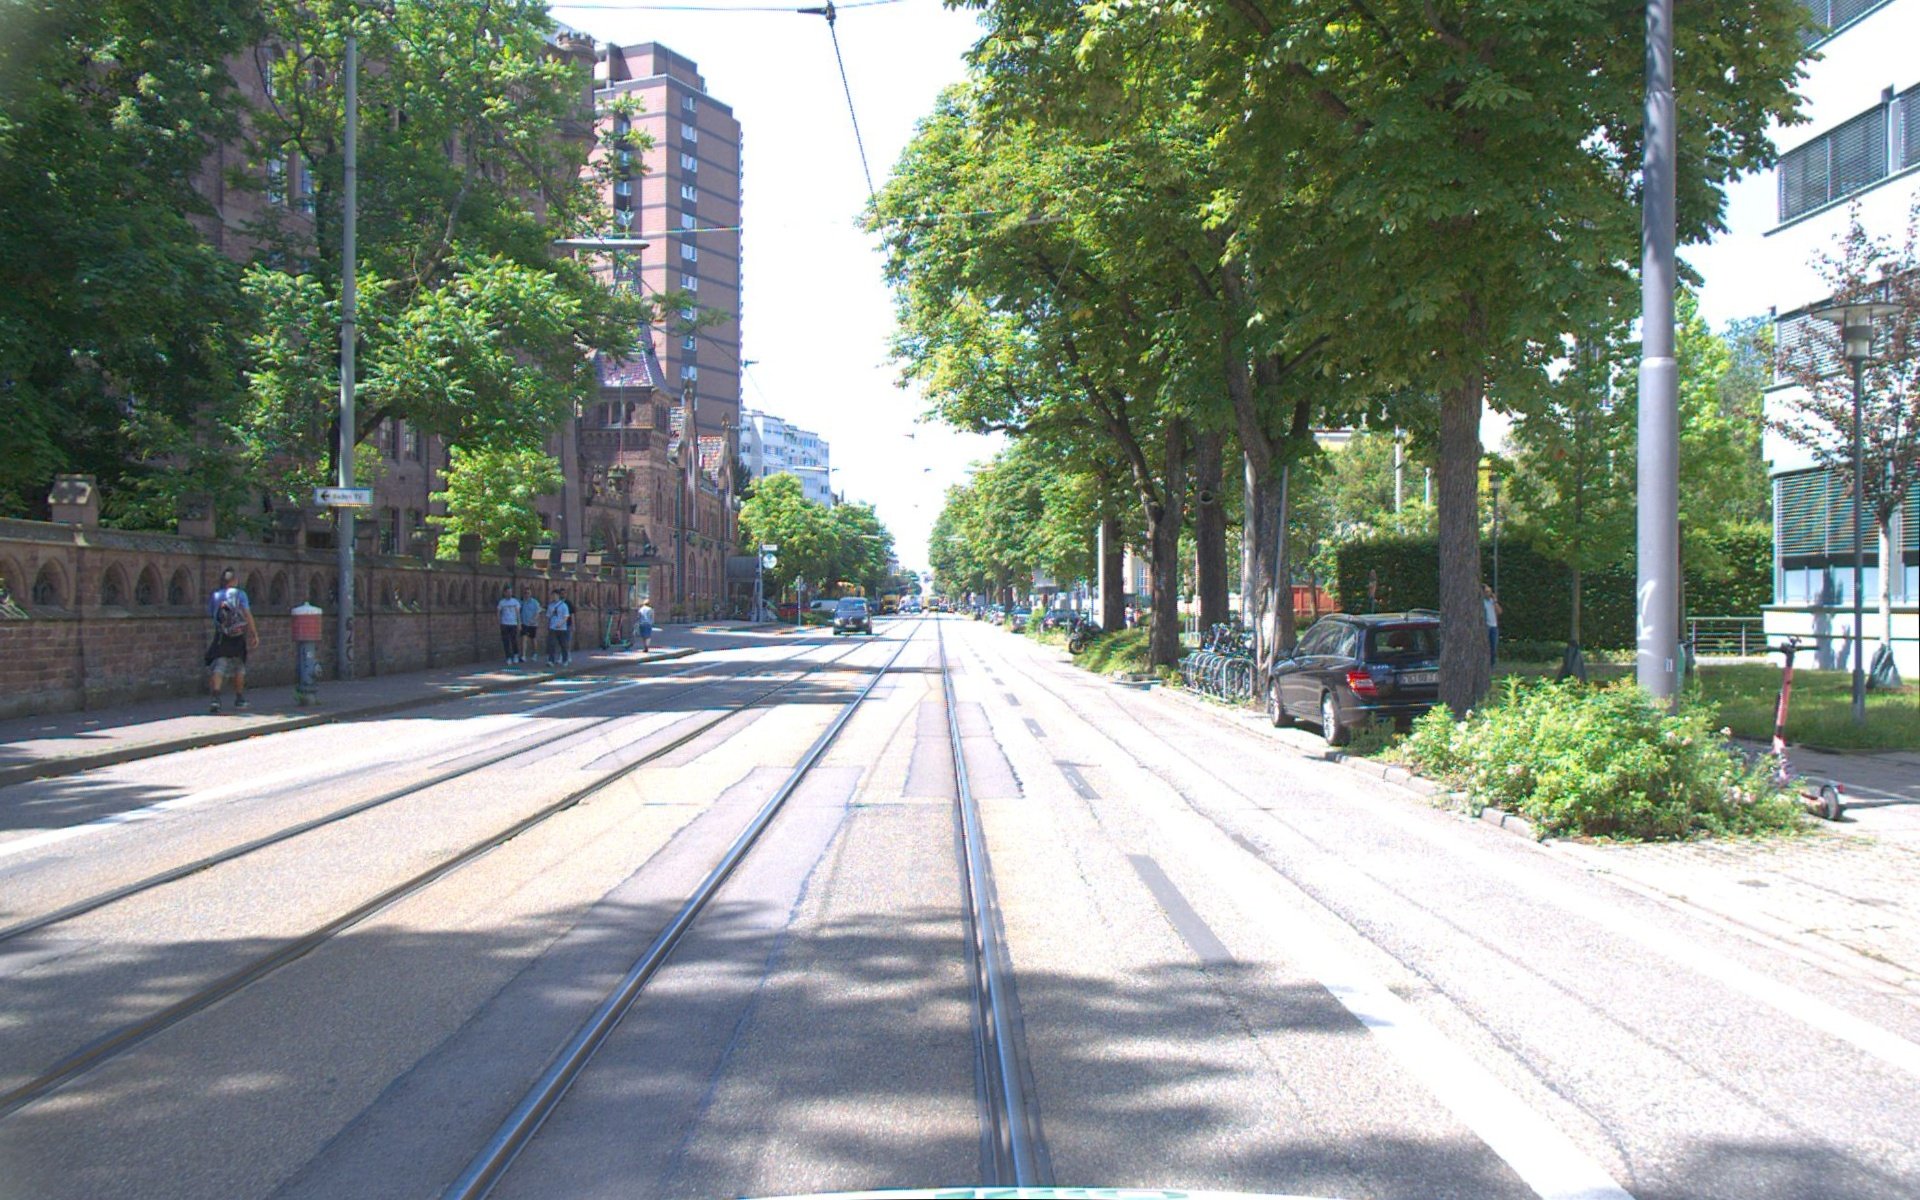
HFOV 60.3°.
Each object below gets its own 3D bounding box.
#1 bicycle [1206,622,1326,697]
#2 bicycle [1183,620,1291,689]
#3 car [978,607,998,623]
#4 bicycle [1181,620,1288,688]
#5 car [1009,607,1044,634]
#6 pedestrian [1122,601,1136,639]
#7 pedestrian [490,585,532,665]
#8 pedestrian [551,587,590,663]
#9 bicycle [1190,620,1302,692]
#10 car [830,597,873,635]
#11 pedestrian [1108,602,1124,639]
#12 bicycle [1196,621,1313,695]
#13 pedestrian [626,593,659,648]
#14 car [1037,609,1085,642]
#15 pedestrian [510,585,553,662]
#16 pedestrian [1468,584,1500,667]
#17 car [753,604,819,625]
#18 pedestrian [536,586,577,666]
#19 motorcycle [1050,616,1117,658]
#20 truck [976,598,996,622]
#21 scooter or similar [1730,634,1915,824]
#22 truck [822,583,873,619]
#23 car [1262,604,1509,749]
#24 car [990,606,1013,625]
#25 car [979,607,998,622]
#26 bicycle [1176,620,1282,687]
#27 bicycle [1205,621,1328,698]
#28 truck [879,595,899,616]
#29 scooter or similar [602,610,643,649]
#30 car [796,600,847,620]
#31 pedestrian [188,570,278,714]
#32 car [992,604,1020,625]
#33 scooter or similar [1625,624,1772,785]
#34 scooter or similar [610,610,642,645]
[{"bbox_3d":[4.851,0.930,26.213,1.775,1.130,0.534,-1,0,-10],"label":"bicycle"},{"bbox_3d":[4.742,0.925,28.361,1.772,1.130,0.395,-1,-1,-4],"label":"bicycle"},{"bbox_3d":[2.614,1.395,154.102,1.787,1.497,4.486,0,0,1],"label":"car"},{"bbox_3d":[4.764,0.932,28.761,1.772,1.130,0.395,-1,-1,-4],"label":"bicycle"},{"bbox_3d":[3.625,1.114,90.931,1.637,1.433,4.747,0,0,-2],"label":"car"},{"bbox_3d":[7.277,0.848,71.189,0.502,1.601,0.544,-2,0,-1],"label":"pedestrian"},{"bbox_3d":[-10.368,0.568,38.215,0.663,1.807,0.919,2,0,-1],"label":"pedestrian"},{"bbox_3d":[-9.470,0.601,40.211,0.663,1.779,0.919,2,0,-1],"label":"pedestrian"},{"bbox_3d":[4.758,0.927,27.488,1.777,1.130,0.488,-1,0,-15],"label":"bicycle"},{"bbox_3d":[-5.320,0.763,81.519,1.866,1.819,4.254,-1,0,-1],"label":"car"},{"bbox_3d":[6.707,0.878,71.205,0.606,1.601,0.610,-2,0,-1],"label":"pedestrian"},{"bbox_3d":[4.771,0.935,26.831,1.775,1.130,0.532,-1,0,-10],"label":"bicycle"},{"bbox_3d":[-9.733,0.623,50.755,0.783,1.616,0.919,2,0,-1],"label":"pedestrian"},{"bbox_3d":[4.190,1.025,68.810,1.715,1.293,3.833,1,0,-1],"label":"car"},{"bbox_3d":[-10.390,0.570,40.123,0.737,1.807,0.919,2,0,-1],"label":"pedestrian"},{"bbox_3d":[11.375,0.551,35.900,0.613,1.779,0.657,-2,-1,18],"label":"pedestrian"},{"bbox_3d":[-13.280,1.132,126.303,4.713,1.594,1.982,0,-1,-29],"label":"car"},{"bbox_3d":[-9.388,0.601,38.525,0.663,1.821,0.919,2,0,-1],"label":"pedestrian"},{"bbox_3d":[3.702,1.115,49.632,2.022,1.234,0.610,-1,-2,39],"label":"motorcycle"},{"bbox_3d":[2.743,1.060,175.550,1.973,2.532,5.954,0,0,-1],"label":"truck"},{"bbox_3d":[6.115,0.881,11.799,0.528,1.229,1.385,-2,0,-1],"label":"scooter or similar"},{"bbox_3d":[-12.729,0.146,188.344,2.657,3.909,10.972,1,-1,13],"label":"truck"},{"bbox_3d":[4.931,0.819,19.844,1.642,1.493,4.633,-1,0,-2],"label":"car"},{"bbox_3d":[3.327,1.244,134.080,1.637,1.544,4.200,0,0,-2],"label":"car"},{"bbox_3d":[2.862,1.455,165.007,1.786,1.497,4.401,-1,0,2],"label":"car"},{"bbox_3d":[4.745,0.933,29.191,1.772,1.130,0.449,-1,0,-4],"label":"bicycle"},{"bbox_3d":[4.732,0.919,25.558,1.772,1.130,0.514,-1,0,-5],"label":"bicycle"},{"bbox_3d":[-10.359,0.805,241.704,2.312,2.902,7.378,-1,0,1],"label":"truck"},{"bbox_3d":[-10.369,0.916,50.811,0.343,1.146,1.217,0,-2,42],"label":"scooter or similar"},{"bbox_3d":[-13.309,0.938,159.052,4.492,1.822,1.879,1,0,-33],"label":"car"},{"bbox_3d":[-9.541,0.544,21.728,0.707,1.823,0.919,2,0,-1],"label":"pedestrian"},{"bbox_3d":[3.376,1.044,121.286,1.638,1.525,4.362,0,0,-4],"label":"car"},{"bbox_3d":[6.073,0.832,13.675,0.528,1.229,1.385,-2,0,-1],"label":"scooter or similar"},{"bbox_3d":[-10.938,0.903,54.254,0.322,1.146,1.221,1,-1,27],"label":"scooter or similar"}]
